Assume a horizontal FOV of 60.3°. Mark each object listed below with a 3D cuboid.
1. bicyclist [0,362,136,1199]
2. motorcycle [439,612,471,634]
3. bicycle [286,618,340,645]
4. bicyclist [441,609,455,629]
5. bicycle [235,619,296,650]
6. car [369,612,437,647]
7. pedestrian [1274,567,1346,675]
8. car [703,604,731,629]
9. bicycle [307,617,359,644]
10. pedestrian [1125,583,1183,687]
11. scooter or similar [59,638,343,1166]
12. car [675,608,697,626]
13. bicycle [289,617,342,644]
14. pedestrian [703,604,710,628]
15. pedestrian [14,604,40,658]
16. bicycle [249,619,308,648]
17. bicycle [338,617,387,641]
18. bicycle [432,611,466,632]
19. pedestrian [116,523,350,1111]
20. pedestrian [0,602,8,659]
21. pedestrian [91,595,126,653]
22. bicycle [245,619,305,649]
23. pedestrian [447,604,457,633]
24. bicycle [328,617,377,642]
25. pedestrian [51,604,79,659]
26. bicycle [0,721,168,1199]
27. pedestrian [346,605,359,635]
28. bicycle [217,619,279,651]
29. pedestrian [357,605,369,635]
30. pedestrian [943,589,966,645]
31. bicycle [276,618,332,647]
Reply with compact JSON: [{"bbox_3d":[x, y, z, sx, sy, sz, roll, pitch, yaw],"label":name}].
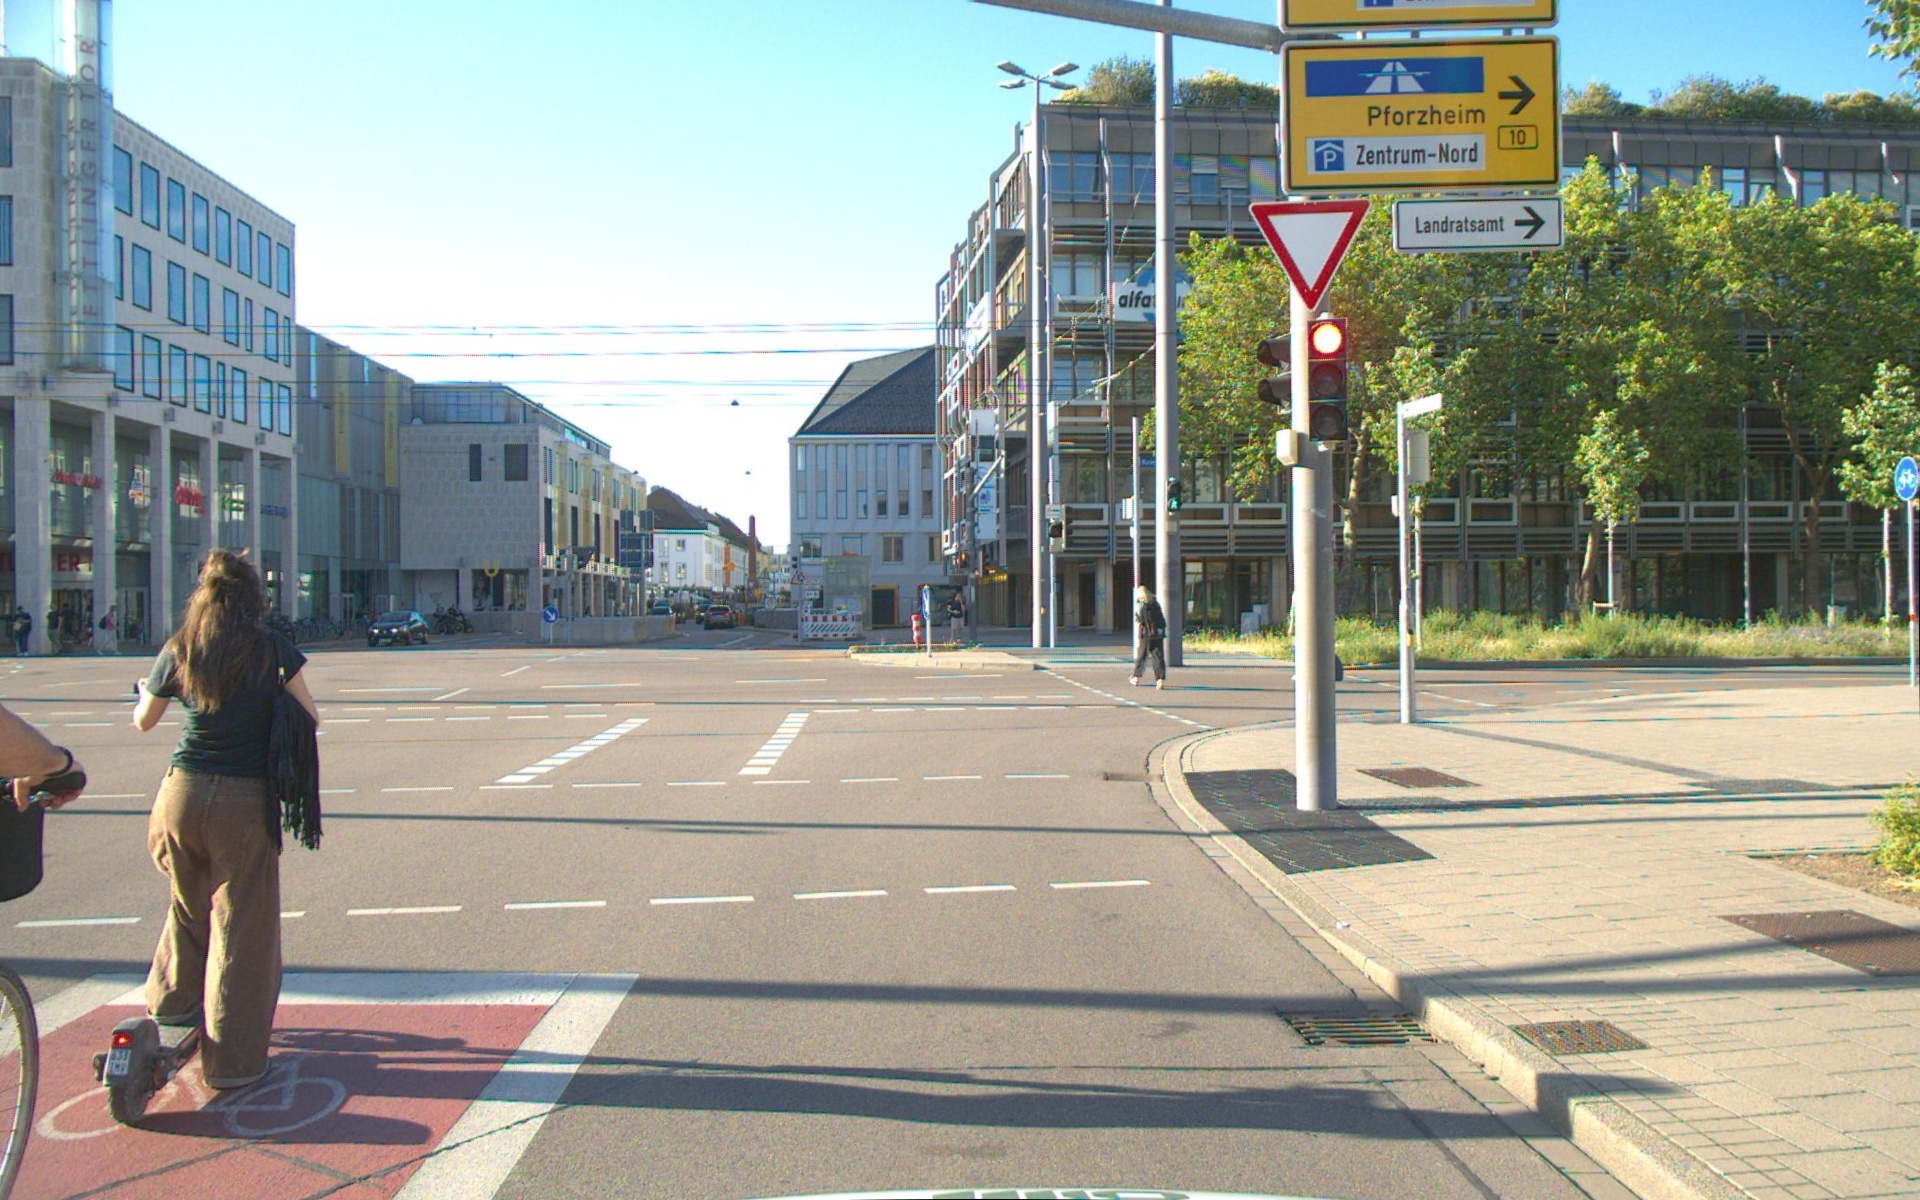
[{"bbox_3d":[-1.975,0.464,2.852,0.647,1.750,0.865,1,-1,-1],"label":"bicyclist"},{"bbox_3d":[-29.760,1.345,97.475,1.775,1.228,0.509,1,0,-16],"label":"motorcycle"},{"bbox_3d":[-30.064,1.464,76.847,2.260,1.244,0.611,0,0,-3],"label":"bicycle"},{"bbox_3d":[-29.381,1.076,94.841,0.619,1.103,0.504,1,0,-39],"label":"bicyclist"},{"bbox_3d":[-29.125,1.447,69.401,2.260,1.244,0.611,0,0,-3],"label":"bicycle"},{"bbox_3d":[-23.377,1.219,69.484,1.597,1.365,3.998,-3,0,-3],"label":"car"},{"bbox_3d":[5.618,0.333,26.590,0.862,1.694,0.963,1,-1,-7],"label":"pedestrian"},{"bbox_3d":[-15.825,1.075,107.945,1.705,1.558,3.849,1,0,-8],"label":"car"},{"bbox_3d":[-30.333,1.474,80.050,2.260,1.244,0.611,0,0,-3],"label":"bicycle"},{"bbox_3d":[2.899,0.520,24.778,0.772,1.518,0.644,1,-1,-1],"label":"pedestrian"},{"bbox_3d":[-2.175,0.785,4.860,0.538,1.316,1.189,1,0,-15],"label":"scooter or similar"},{"bbox_3d":[-26.930,1.661,162.807,1.762,1.686,3.996,1,0,-5],"label":"car"},{"bbox_3d":[-30.713,1.462,78.817,2.260,1.244,0.611,0,0,-3],"label":"bicycle"},{"bbox_3d":[-17.938,1.133,117.063,0.511,1.709,0.582,1,0,-8],"label":"pedestrian"},{"bbox_3d":[-32.861,1.090,58.262,0.787,1.876,0.856,0,0,-29],"label":"pedestrian"},{"bbox_3d":[-29.503,1.450,71.632,2.260,1.244,0.611,0,0,-3],"label":"bicycle"},{"bbox_3d":[-30.815,1.489,85.337,2.260,1.244,0.611,0,0,-3],"label":"bicycle"},{"bbox_3d":[-29.321,1.234,94.899,1.793,1.228,0.504,1,0,-40],"label":"bicycle"},{"bbox_3d":[-2.185,0.617,5.028,0.540,1.661,0.569,1,-1,-16],"label":"pedestrian"},{"bbox_3d":[-33.181,1.038,56.837,0.706,1.918,0.780,1,-1,-28],"label":"pedestrian"},{"bbox_3d":[-30.572,0.871,59.393,0.868,2.049,0.771,1,-1,-12],"label":"pedestrian"},{"bbox_3d":[-29.290,1.450,70.755,2.260,1.244,0.611,0,0,-3],"label":"bicycle"},{"bbox_3d":[-30.098,1.091,98.077,0.512,1.709,0.581,1,0,-14],"label":"pedestrian"},{"bbox_3d":[-30.927,1.482,84.266,2.260,1.244,0.611,0,0,-3],"label":"bicycle"},{"bbox_3d":[-31.170,1.081,57.603,0.788,1.876,0.854,0,0,-33],"label":"pedestrian"},{"bbox_3d":[-2.079,0.868,2.927,0.475,1.176,1.831,1,0,-1],"label":"bicycle"},{"bbox_3d":[-34.755,1.156,94.587,0.560,1.709,0.614,1,0,-10],"label":"pedestrian"},{"bbox_3d":[-29.332,1.437,68.116,2.260,1.244,0.611,0,0,-3],"label":"bicycle"},{"bbox_3d":[-34.221,1.160,94.761,0.544,1.709,0.606,1,0,-11],"label":"pedestrian"},{"bbox_3d":[-0.202,0.588,57.297,0.772,1.923,0.644,1,-1,-1],"label":"pedestrian"},{"bbox_3d":[-29.603,1.462,74.697,2.260,1.244,0.611,0,0,-3],"label":"bicycle"}]
